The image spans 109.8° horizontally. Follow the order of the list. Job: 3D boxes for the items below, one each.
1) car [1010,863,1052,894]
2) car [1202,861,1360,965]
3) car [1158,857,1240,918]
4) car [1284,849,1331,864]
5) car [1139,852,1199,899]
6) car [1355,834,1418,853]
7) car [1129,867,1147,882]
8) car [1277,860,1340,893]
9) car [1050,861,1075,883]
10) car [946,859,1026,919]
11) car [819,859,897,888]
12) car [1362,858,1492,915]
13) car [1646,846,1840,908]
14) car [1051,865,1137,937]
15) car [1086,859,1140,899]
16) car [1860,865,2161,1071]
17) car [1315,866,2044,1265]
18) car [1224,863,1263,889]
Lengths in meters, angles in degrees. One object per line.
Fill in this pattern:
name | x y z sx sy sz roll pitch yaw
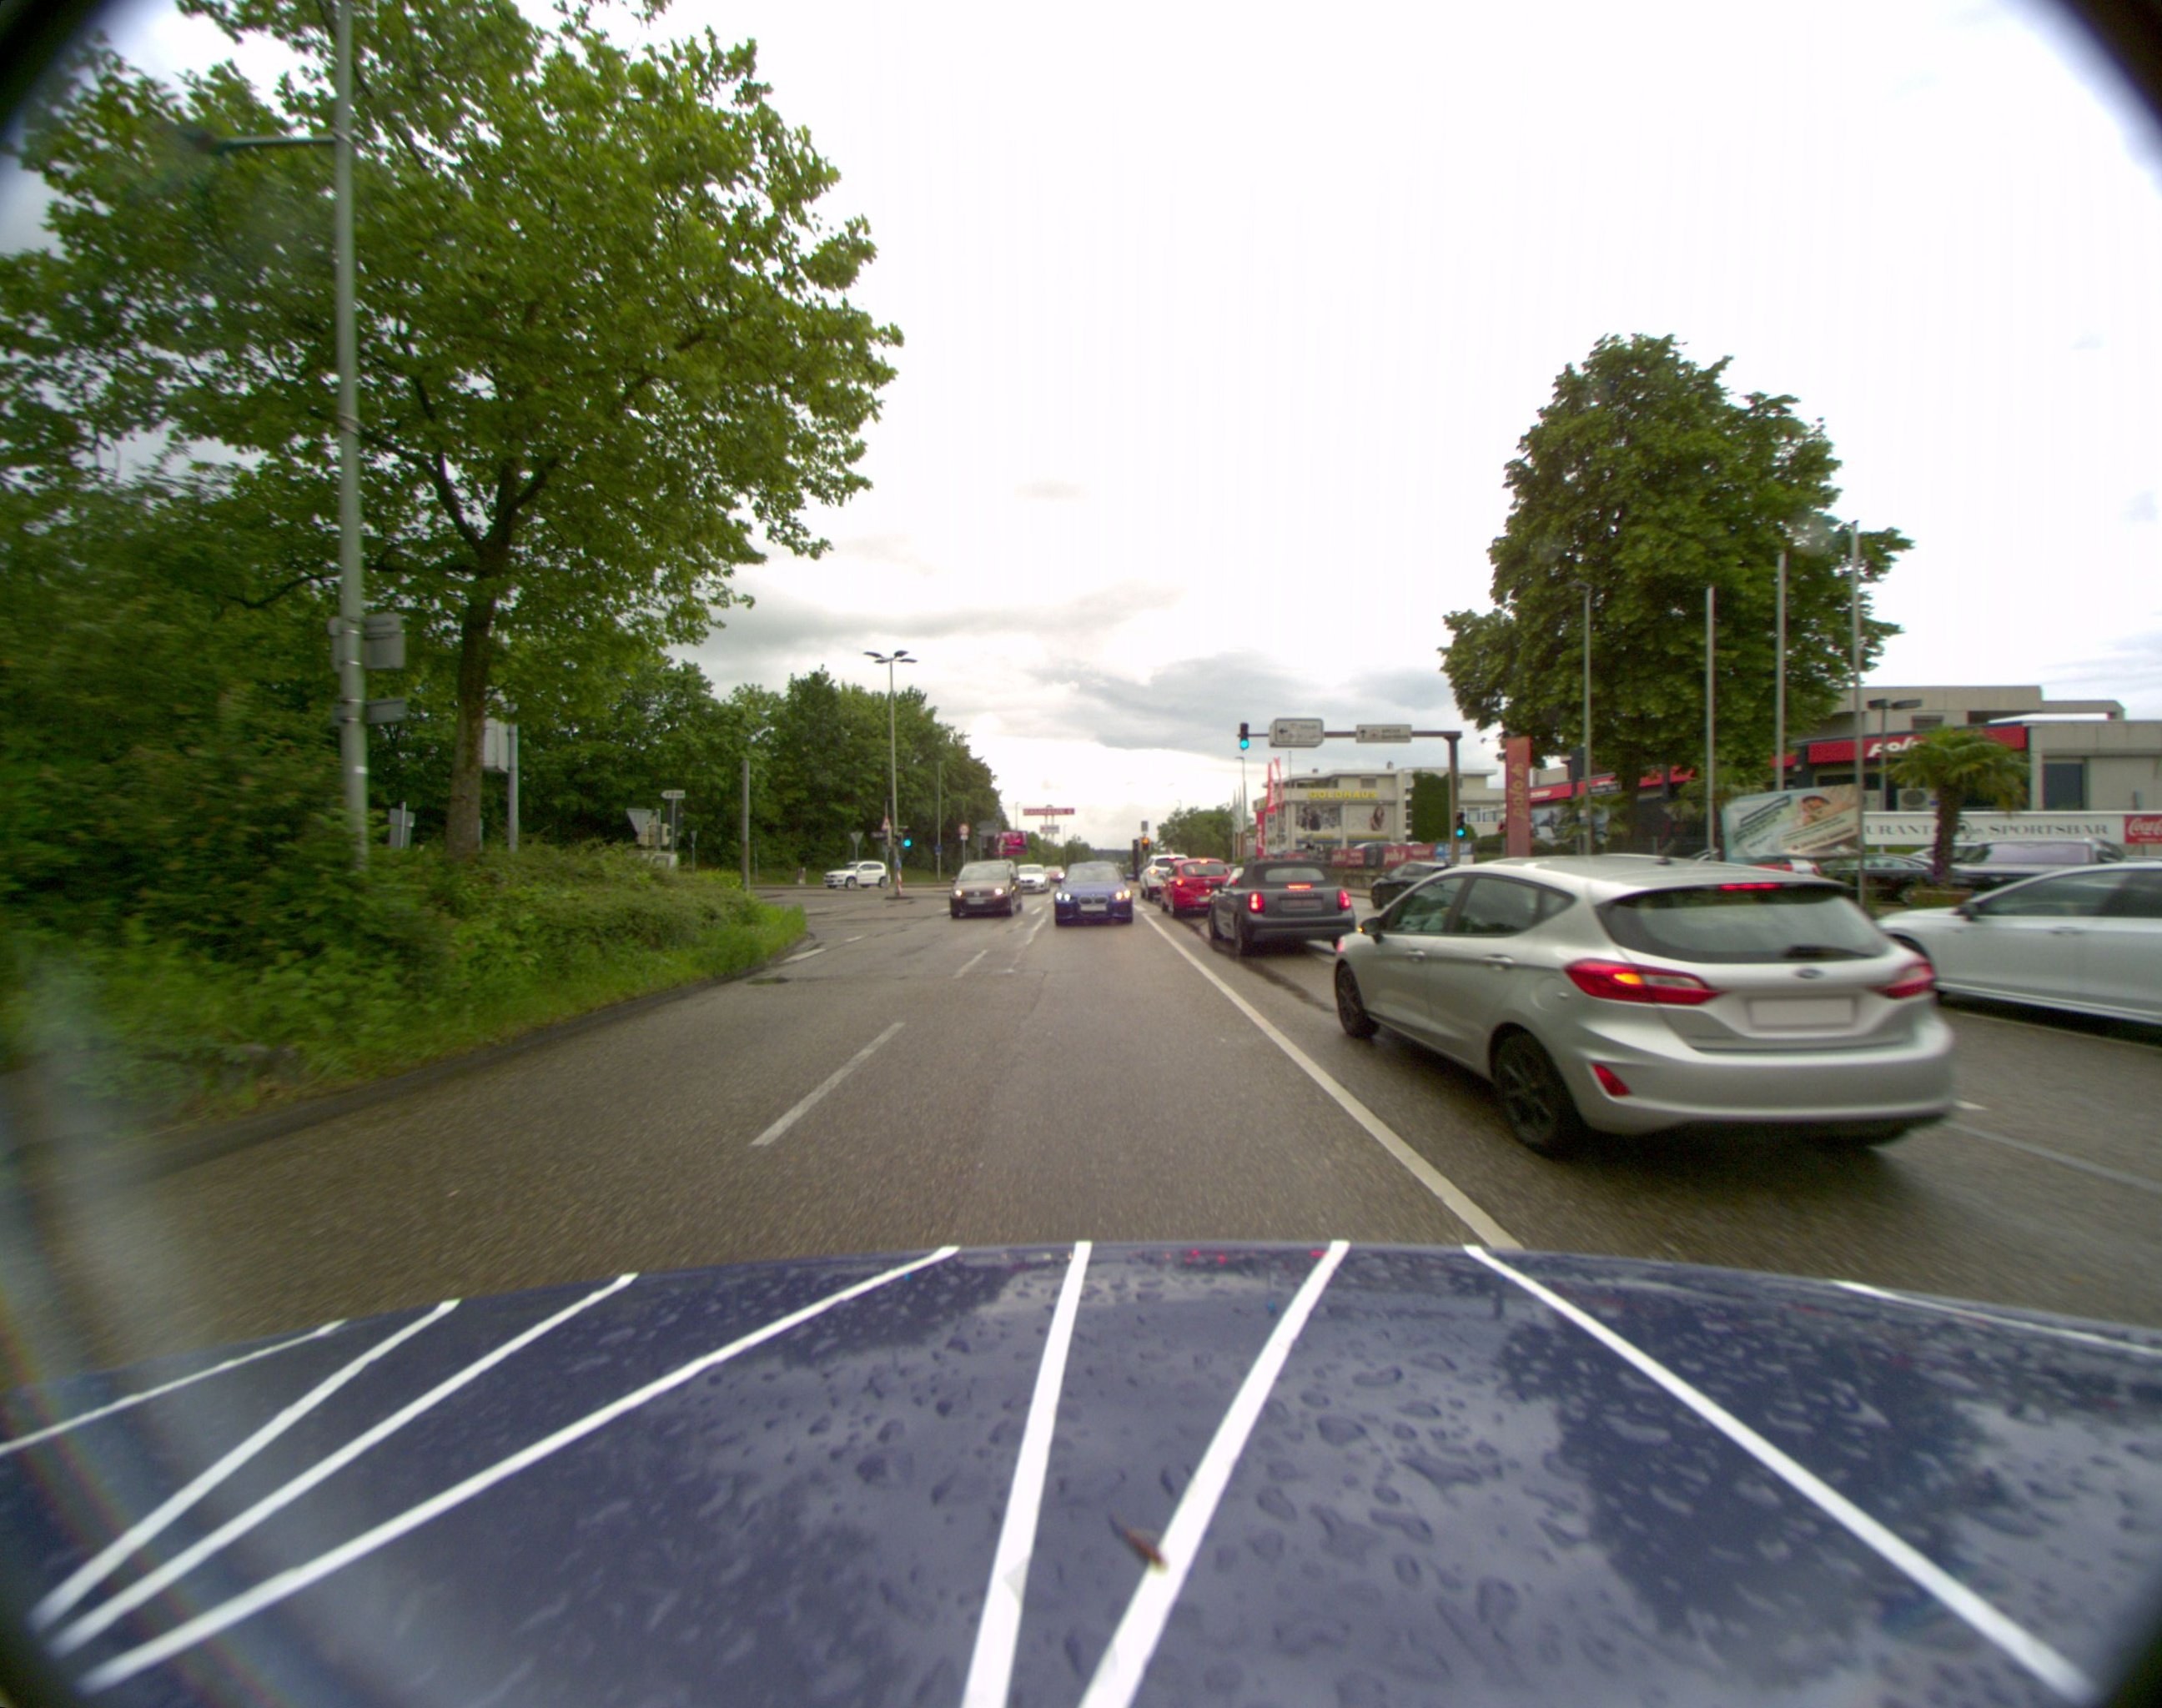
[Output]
car | -2.476 1.188 38.801 1.784 1.448 4.680 -1 -1 0
car | 3.143 0.864 12.720 1.606 1.432 3.949 -2 -1 1
car | 3.087 0.835 20.566 1.636 1.425 4.144 0 1 1
car | 18.176 0.232 61.059 3.394 1.160 1.454 0 -1 -1
car | 3.284 0.795 29.162 1.844 1.639 4.298 0 -1 1
car | 19.175 -0.650 47.771 3.394 1.160 1.454 0 -1 -1
car | 6.539 2.301 87.352 1.844 1.639 4.298 1 -1 1
car | 9.902 0.966 33.294 1.626 1.324 3.947 1 -1 1
car | -1.294 1.284 54.605 1.634 1.448 3.538 -1 -1 0
car | -2.744 0.993 22.785 1.751 1.599 3.981 -1 -1 2
car | -13.629 1.170 46.698 1.994 1.717 4.326 -1 -1 34
car | 9.525 0.855 21.326 1.606 1.391 4.405 1 -1 0
car | 17.285 0.547 20.078 3.608 1.495 1.669 1 1 30
car | 0.280 1.019 18.238 1.784 1.448 4.597 -1 -1 0
car | 1.248 0.937 30.318 1.998 1.455 4.368 -1 -1 2
car | 8.868 0.864 5.978 1.640 1.469 4.046 0 0 7
car | 2.907 0.848 4.894 1.606 1.433 3.948 -2 0 1
car | 10.363 1.381 48.639 1.680 1.608 4.001 1 -1 1
